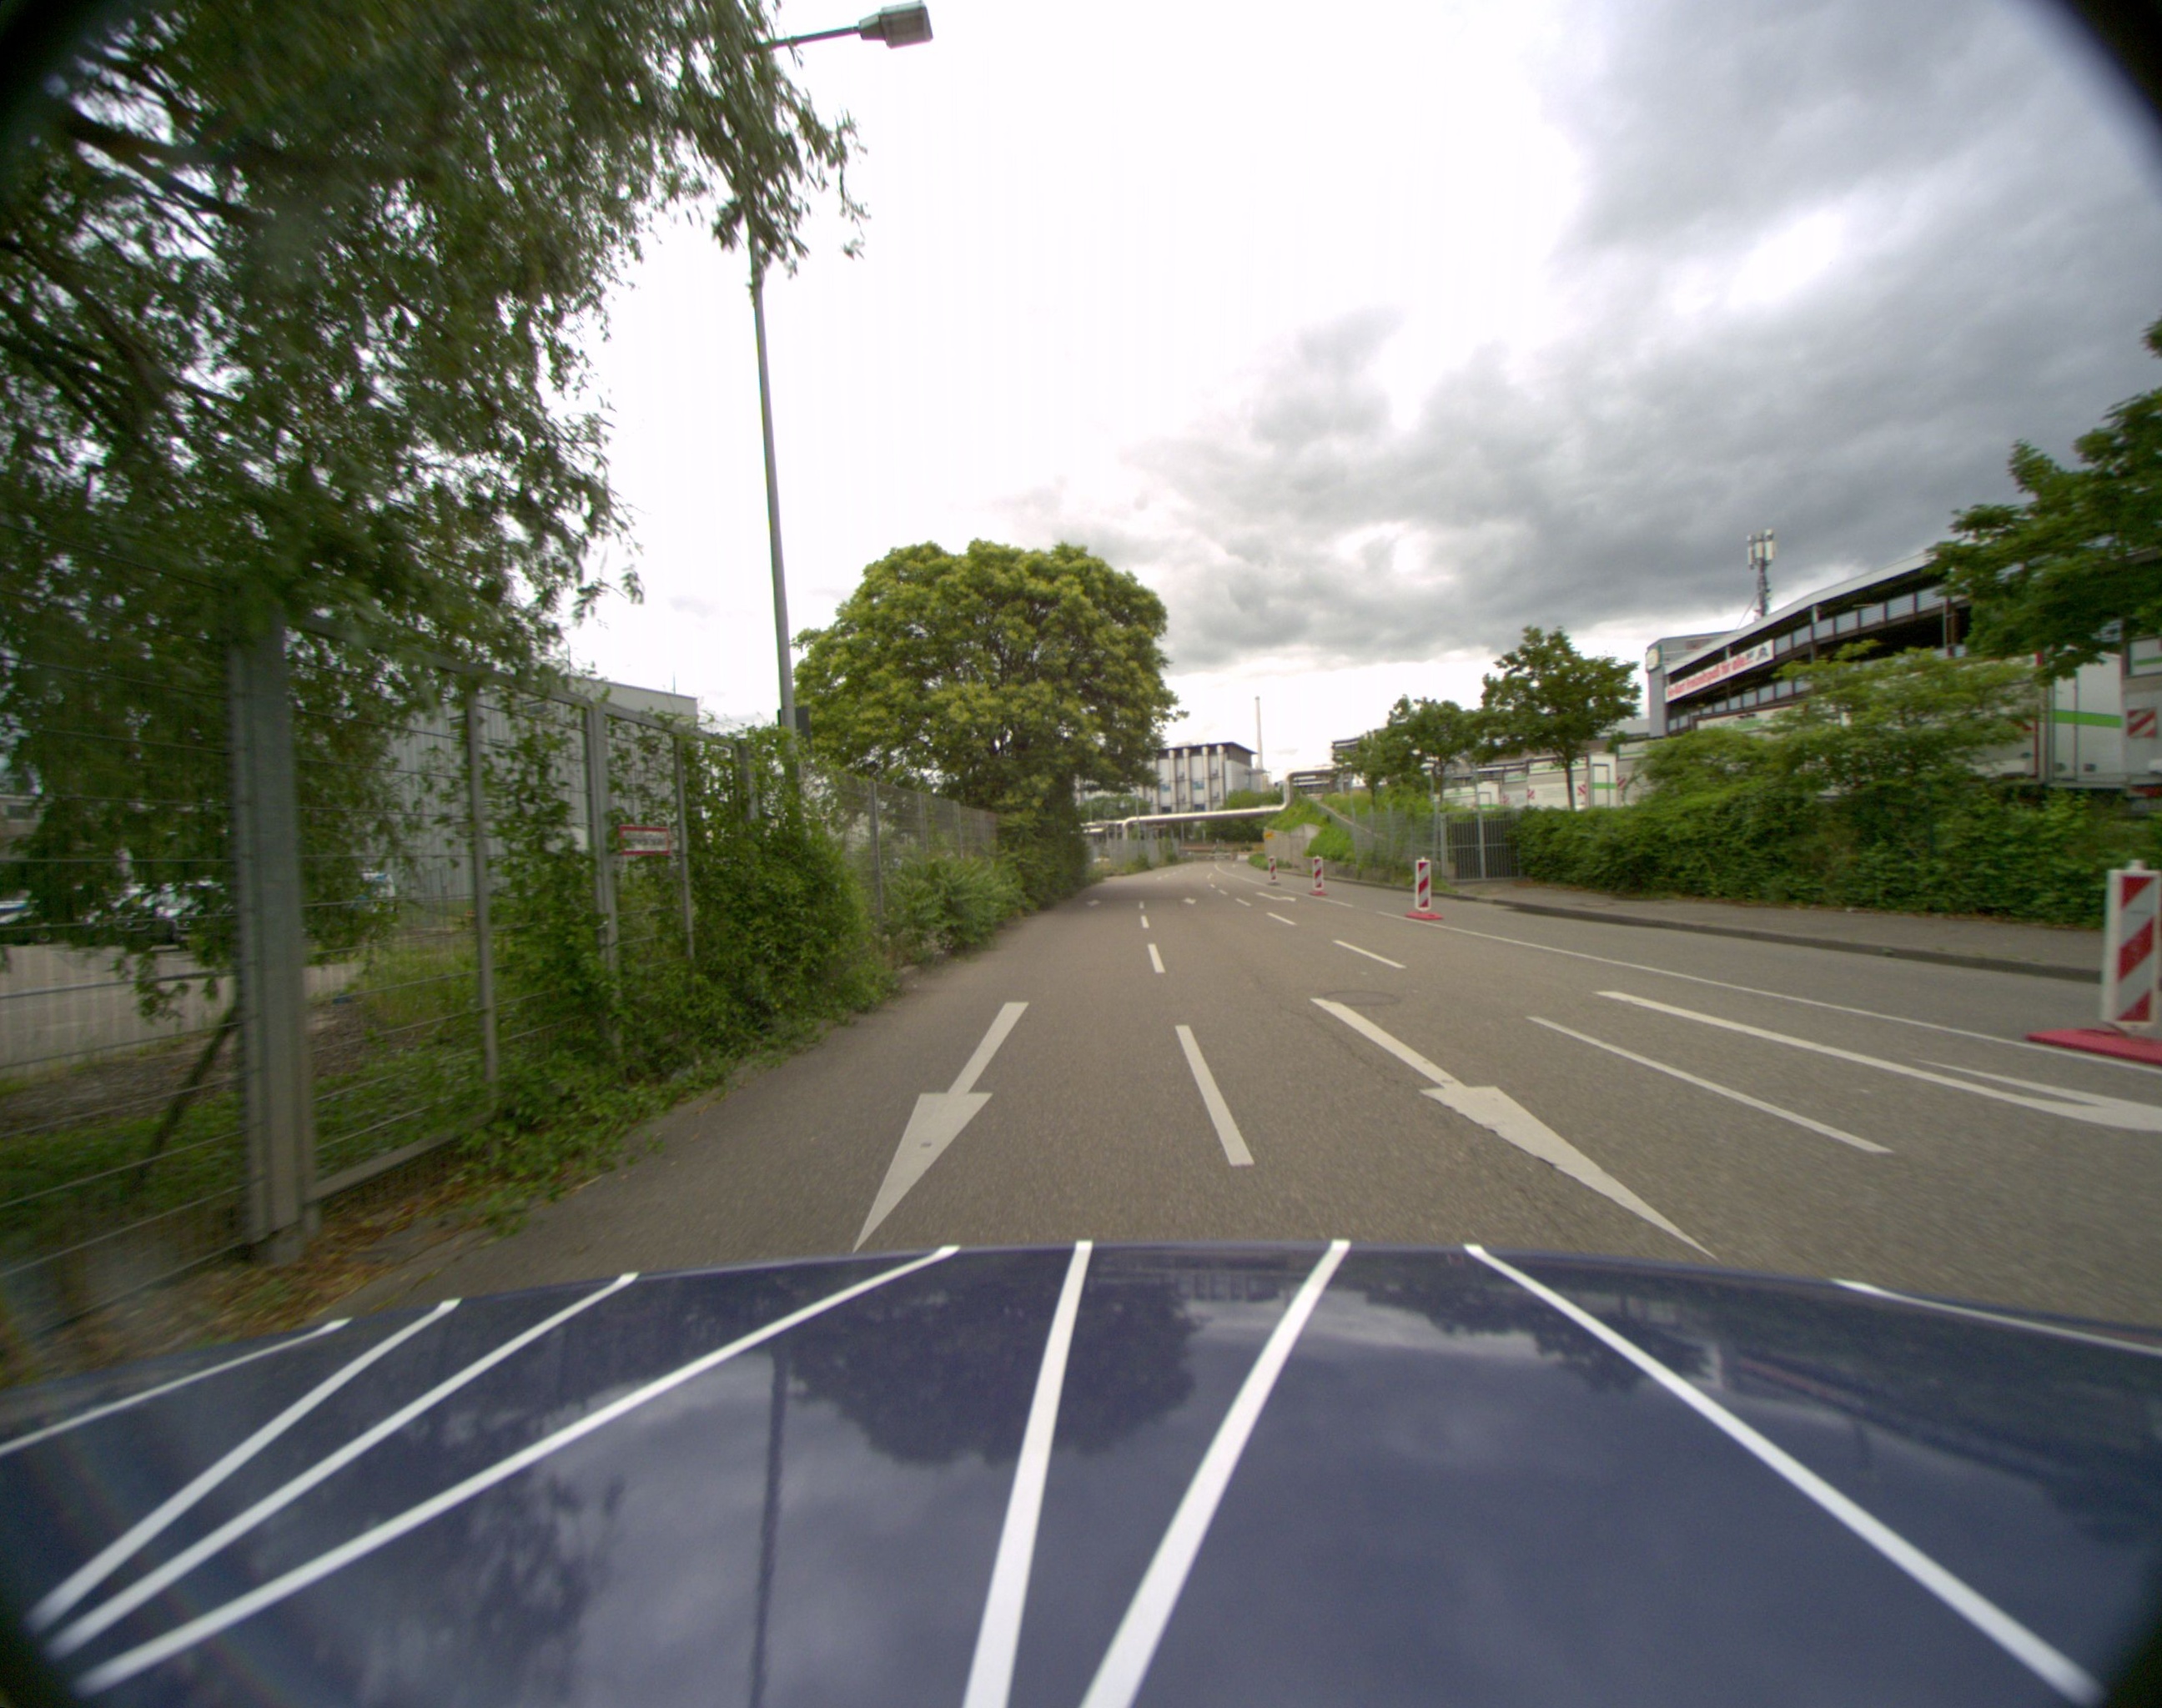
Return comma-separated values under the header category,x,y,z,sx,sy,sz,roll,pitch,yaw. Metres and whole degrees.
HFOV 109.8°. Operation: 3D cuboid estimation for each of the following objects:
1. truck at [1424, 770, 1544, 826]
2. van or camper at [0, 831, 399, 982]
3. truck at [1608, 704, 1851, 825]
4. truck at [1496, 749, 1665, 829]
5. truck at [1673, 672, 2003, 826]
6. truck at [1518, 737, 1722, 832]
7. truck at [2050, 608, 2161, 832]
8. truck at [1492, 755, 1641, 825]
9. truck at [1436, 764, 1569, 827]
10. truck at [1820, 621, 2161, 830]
category,x,y,z,sx,sy,sz,roll,pitch,yaw
truck,28.174,-3.921,53.068,7.874,3.519,3.046,-4,2,-23
van or camper,-32.821,1.724,27.273,11.833,4.506,5.486,-3,2,4
truck,21.869,-2.943,25.594,7.874,3.519,3.046,-4,2,-23
truck,24.503,-3.181,37.252,7.874,3.519,3.046,-4,2,-23
truck,20.309,-2.720,20.413,7.872,3.519,3.047,-4,2,-18
truck,22.342,-2.880,31.460,8.163,3.519,3.046,-4,2,-23
truck,19.587,-2.177,12.063,7.873,3.232,3.046,-4,2,-21
truck,26.933,-3.559,42.127,7.874,3.519,3.046,-4,2,-23
truck,26.374,-3.676,47.513,7.874,3.519,3.046,-4,2,-23
truck,19.655,-2.469,15.892,7.873,3.519,3.046,-4,2,-21
